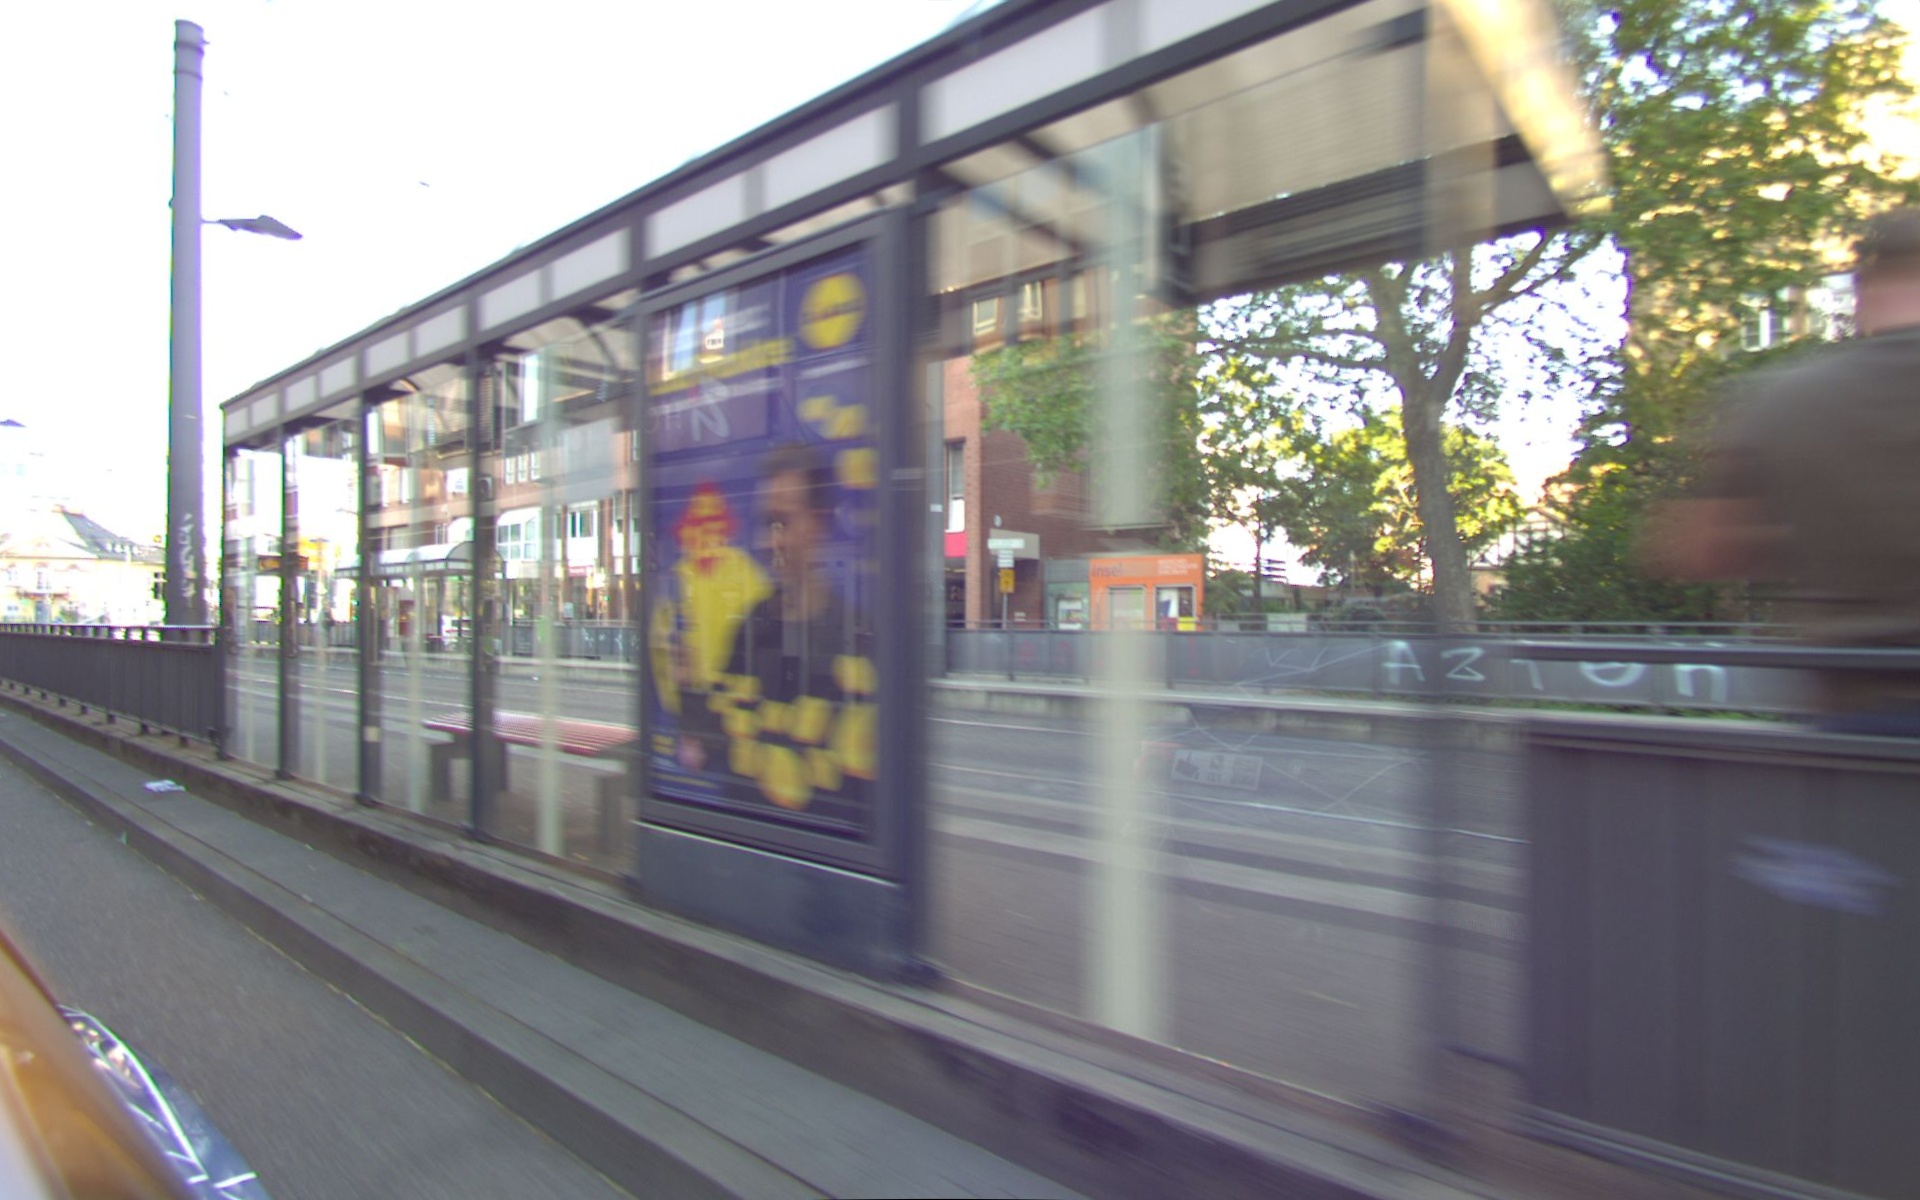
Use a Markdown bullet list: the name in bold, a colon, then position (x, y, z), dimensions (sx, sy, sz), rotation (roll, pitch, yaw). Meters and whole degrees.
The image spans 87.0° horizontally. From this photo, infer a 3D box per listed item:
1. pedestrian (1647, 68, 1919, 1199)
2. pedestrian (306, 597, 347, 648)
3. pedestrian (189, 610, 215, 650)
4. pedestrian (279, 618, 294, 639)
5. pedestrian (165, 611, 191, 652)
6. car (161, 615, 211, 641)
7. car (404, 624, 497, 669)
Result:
- **pedestrian**: position (1.635, 0.111, 1.585), dimensions (0.849, 1.725, 0.616), rotation (-1, -1, 40)
- **pedestrian**: position (-21.396, 0.742, 34.181), dimensions (0.967, 1.674, 0.902), rotation (-1, -1, 40)
- **pedestrian**: position (-34.877, 1.383, 46.562), dimensions (0.847, 1.780, 0.812), rotation (-2, 1, -41)
- **pedestrian**: position (-65.907, 2.758, 99.040), dimensions (0.990, 2.028, 1.058), rotation (0, 2, 45)
- **pedestrian**: position (-35.471, 1.425, 45.897), dimensions (0.847, 1.780, 0.812), rotation (-2, 1, -41)
- **car**: position (-97.822, 3.508, 128.026), dimensions (2.501, 3.071, 6.390), rotation (2, -1, -13)
- **car**: position (-20.869, 1.872, 41.356), dimensions (4.289, 1.606, 1.889), rotation (1, -1, 41)
